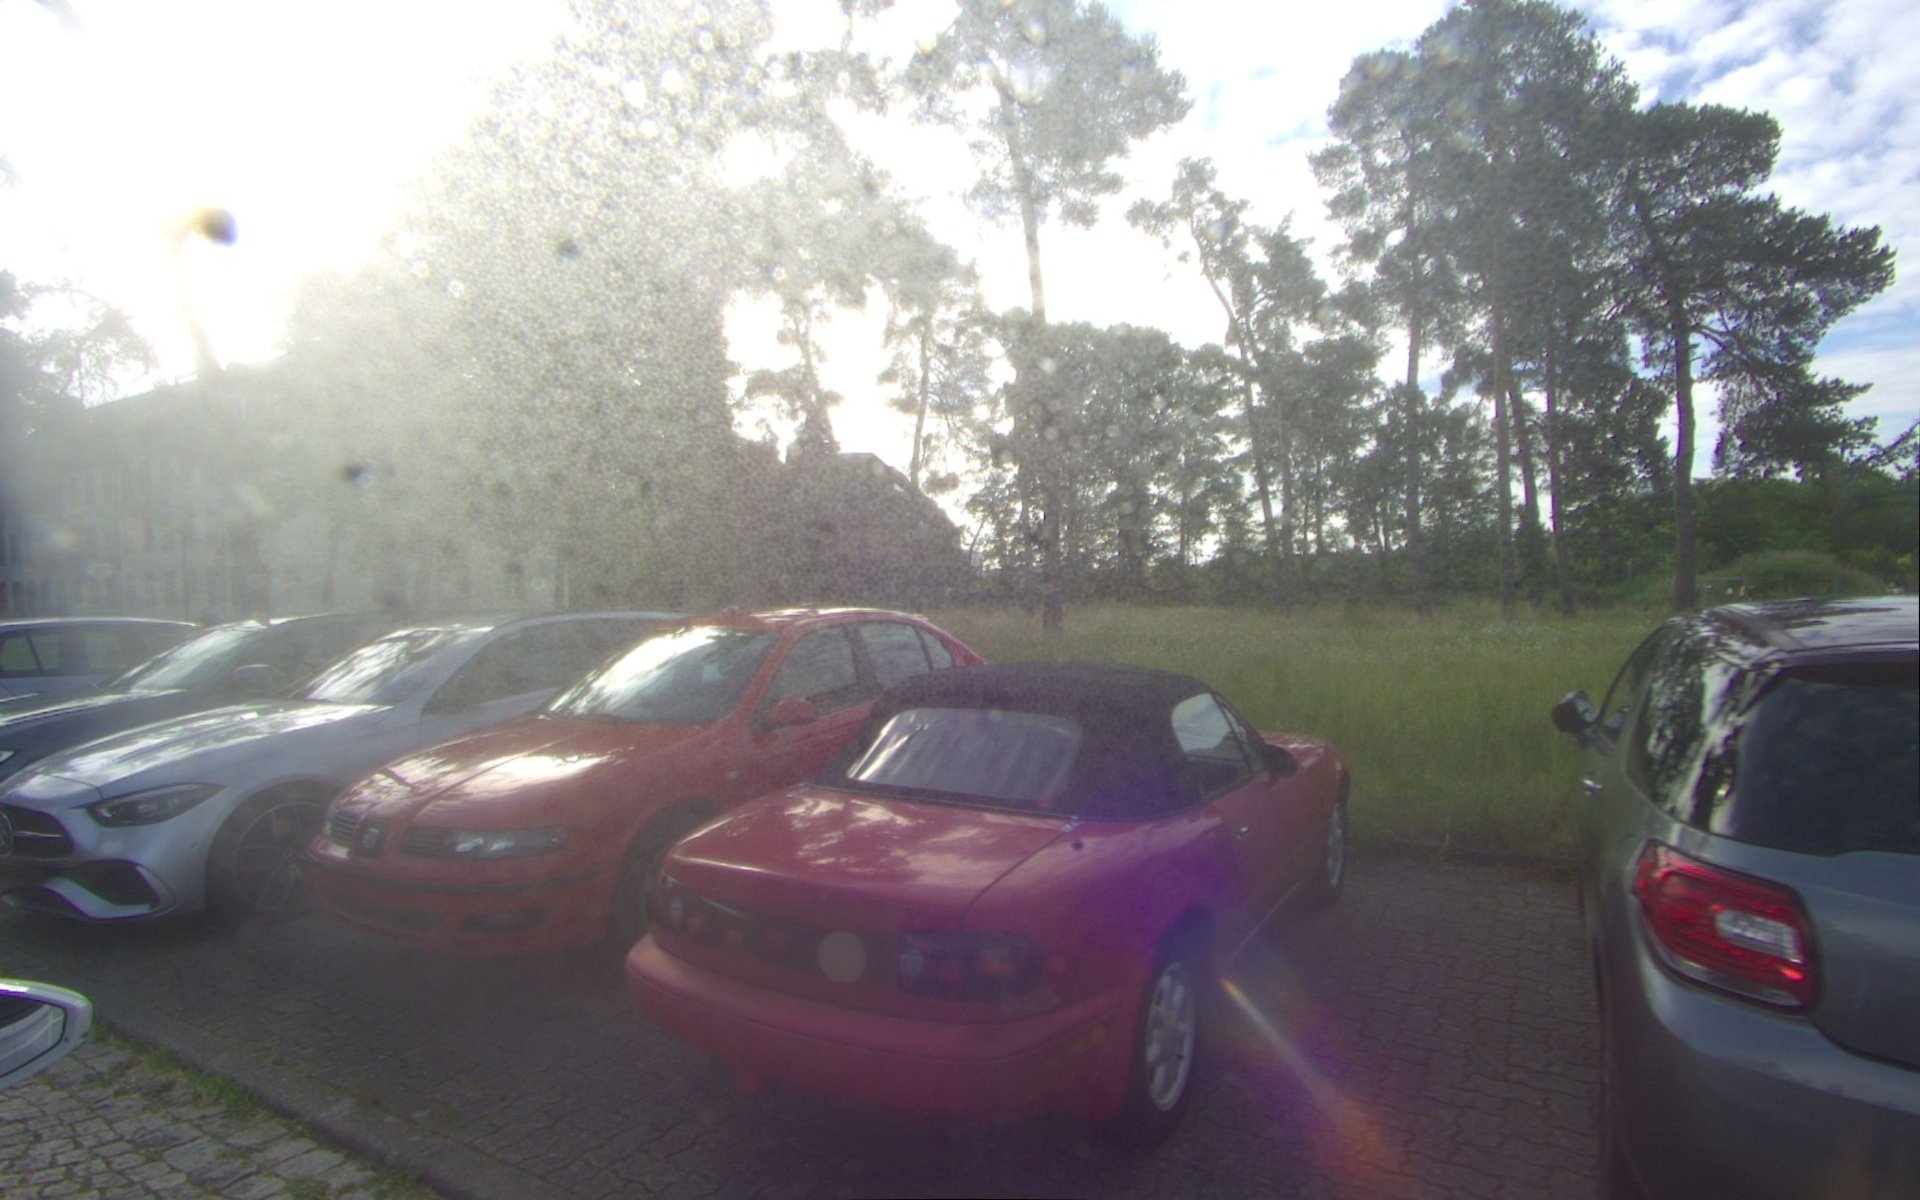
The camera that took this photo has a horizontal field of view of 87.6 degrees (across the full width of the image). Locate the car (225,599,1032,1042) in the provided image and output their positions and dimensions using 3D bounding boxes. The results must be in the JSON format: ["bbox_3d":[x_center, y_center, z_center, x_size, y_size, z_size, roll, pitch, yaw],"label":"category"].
[{"bbox_3d":[-1.300,0.746,5.525,1.695,1.442,4.099,-1,0,32],"label":"car"}]

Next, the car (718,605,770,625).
[{"bbox_3d":[-16.443,1.160,76.423,1.540,1.416,3.982,-1,-2,31],"label":"car"}]

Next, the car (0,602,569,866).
[{"bbox_3d":[-5.564,0.807,7.925,1.780,1.503,4.508,-1,0,28],"label":"car"}]

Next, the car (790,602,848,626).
[{"bbox_3d":[-9.982,0.970,71.161,3.923,1.622,1.999,-1,1,-6],"label":"car"}]

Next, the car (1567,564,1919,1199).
[{"bbox_3d":[2.791,0.682,3.028,1.581,1.523,3.821,-1,0,31],"label":"car"}]

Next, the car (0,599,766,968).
[{"bbox_3d":[-3.368,0.772,6.462,1.740,1.448,4.318,-1,1,30],"label":"car"}]

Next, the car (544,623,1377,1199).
[{"bbox_3d":[0.437,0.813,3.942,1.586,1.303,3.537,-2,0,33],"label":"car"}]

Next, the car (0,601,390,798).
[{"bbox_3d":[-7.706,0.807,9.352,1.617,1.490,3.836,-1,1,30],"label":"car"}]
